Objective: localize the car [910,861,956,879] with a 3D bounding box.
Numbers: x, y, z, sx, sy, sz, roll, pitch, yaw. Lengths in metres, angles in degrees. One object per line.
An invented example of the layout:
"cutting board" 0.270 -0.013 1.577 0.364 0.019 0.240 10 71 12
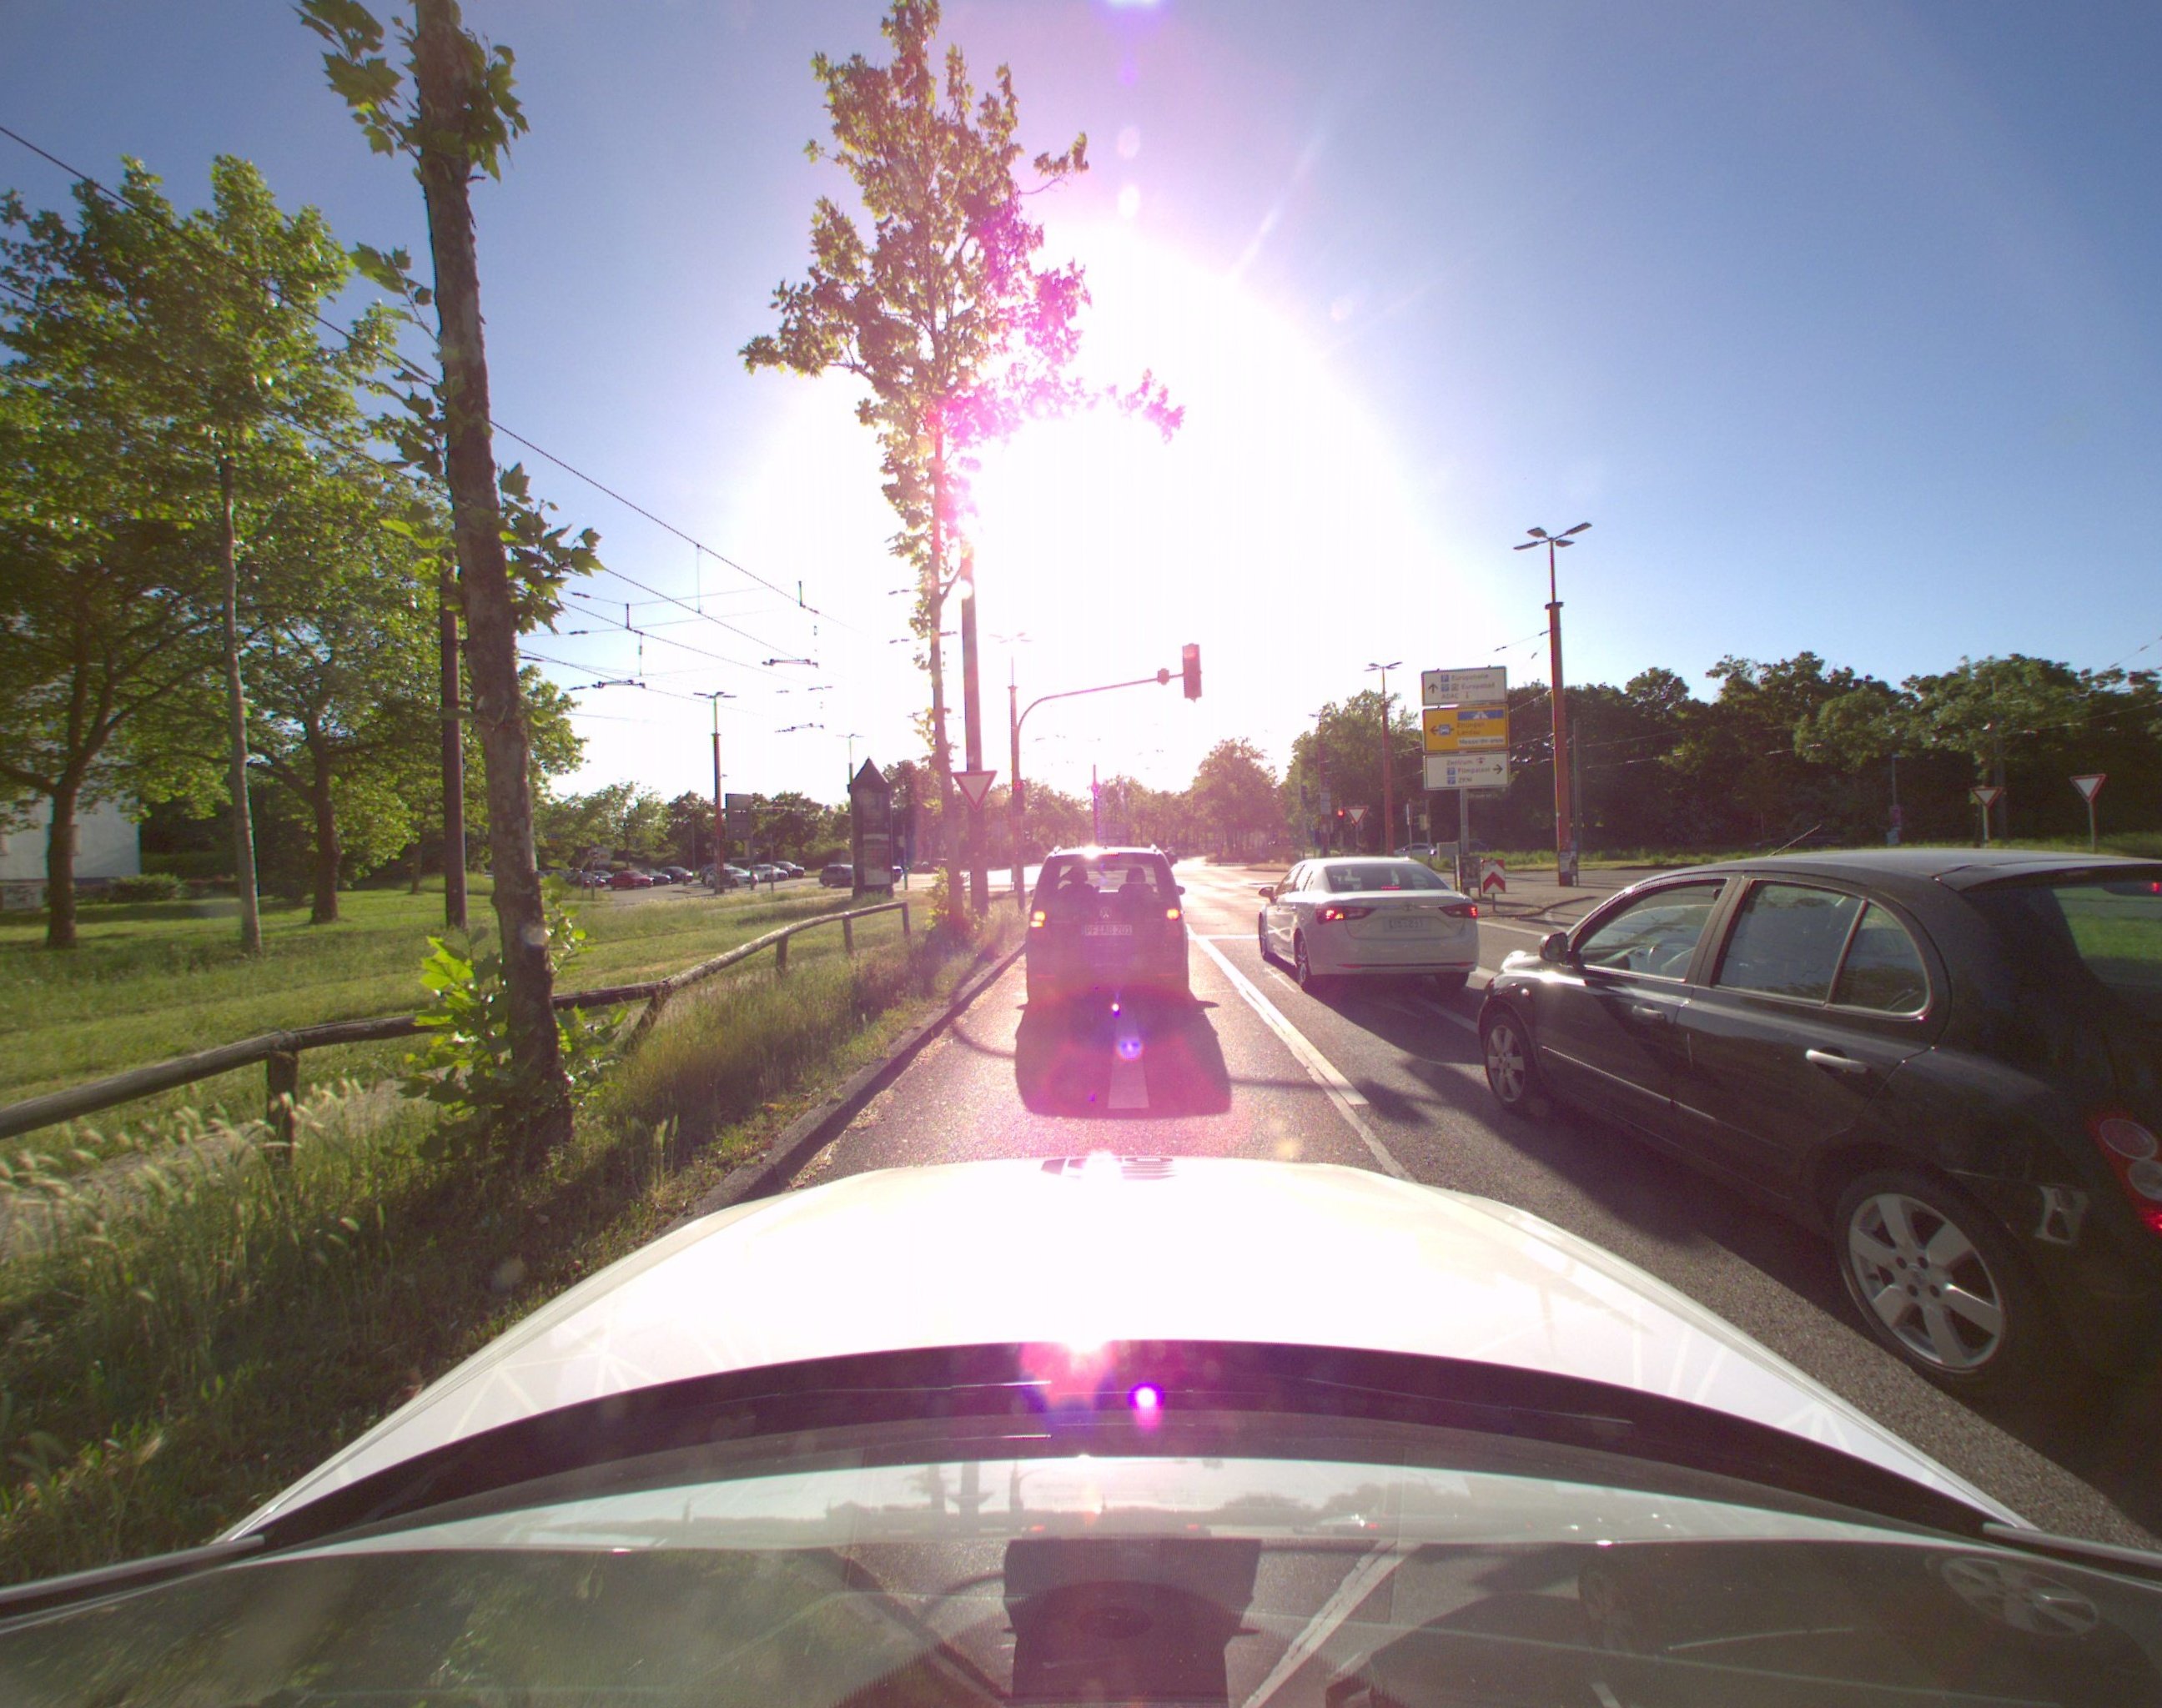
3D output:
"car" -14.263 1.559 78.414 4.164 1.681 1.666 -1 0 27

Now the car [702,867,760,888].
"car" -26.267 1.742 61.079 4.577 1.520 1.667 -1 0 32

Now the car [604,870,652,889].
"car" -37.237 2.073 66.910 4.145 1.520 1.667 -1 0 32

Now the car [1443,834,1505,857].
"car" 27.533 -0.612 57.065 3.755 1.510 1.667 -1 0 30

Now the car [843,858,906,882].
"car" -14.981 1.135 59.022 4.583 1.647 1.667 -1 0 32

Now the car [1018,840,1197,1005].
"car" 0.365 0.687 10.094 1.731 1.602 4.329 0 -1 3

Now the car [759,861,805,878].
"car" -26.727 1.386 72.824 4.102 1.415 1.553 -1 0 28

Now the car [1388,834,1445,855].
"car" 25.553 -0.718 62.051 3.877 1.457 1.667 -1 0 28

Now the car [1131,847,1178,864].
"car" 6.531 0.107 72.472 3.876 1.457 1.667 -1 0 33

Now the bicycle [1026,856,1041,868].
"bicycle" -5.992 0.996 102.154 0.969 1.388 2.991 -2 0 15

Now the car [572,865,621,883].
"car" -45.423 1.887 76.319 4.585 1.647 1.767 -1 0 26

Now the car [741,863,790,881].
"car" -26.830 1.528 69.199 4.102 1.415 1.553 -1 0 28

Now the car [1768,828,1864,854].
"car" 45.347 -0.799 50.353 4.095 1.510 1.667 -1 0 30

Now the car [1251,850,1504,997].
"car" 3.372 0.706 10.199 1.792 1.440 4.329 0 -1 3

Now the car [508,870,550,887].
"car" -51.185 2.253 75.443 4.145 1.520 1.667 -1 0 32

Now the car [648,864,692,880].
"car" -38.194 1.674 75.719 4.102 1.415 1.553 -1 0 28

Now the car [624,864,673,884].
"car" -38.434 1.761 72.321 4.583 1.647 1.767 -1 0 32

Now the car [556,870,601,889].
"car" -43.954 2.208 71.218 4.145 1.520 1.667 -1 0 32

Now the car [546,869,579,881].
"car" -69.517 2.817 109.165 4.616 1.625 1.667 -1 0 28

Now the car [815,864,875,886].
"car" -15.911 1.399 54.884 3.793 1.441 1.667 -1 0 29

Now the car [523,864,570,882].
"car" -52.533 1.894 80.089 4.585 1.647 1.767 -1 0 26

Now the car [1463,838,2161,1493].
"car" 3.179 0.693 3.500 1.570 1.440 3.443 0 -1 2

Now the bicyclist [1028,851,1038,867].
"bicyclist" -5.991 0.616 102.196 0.969 1.904 1.055 -2 0 14
